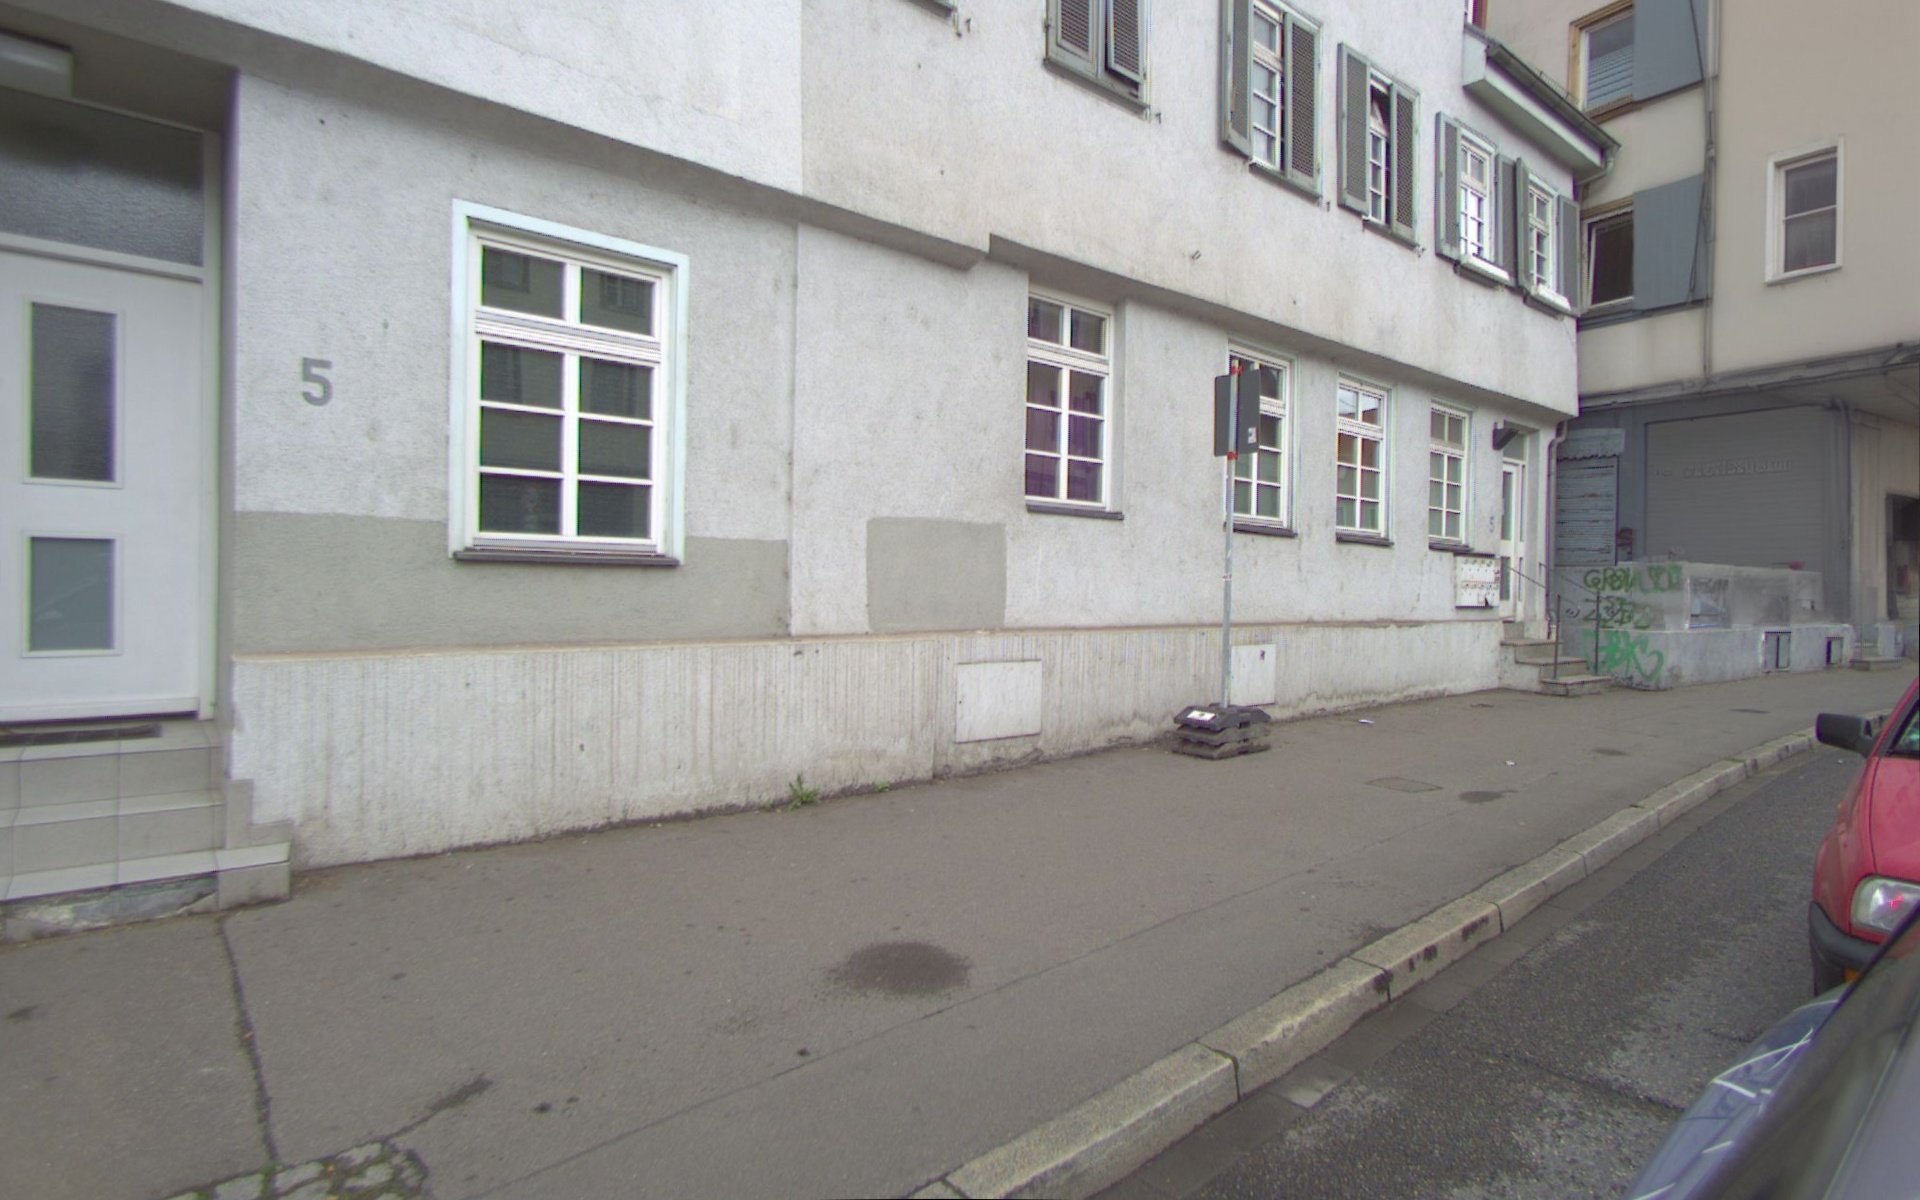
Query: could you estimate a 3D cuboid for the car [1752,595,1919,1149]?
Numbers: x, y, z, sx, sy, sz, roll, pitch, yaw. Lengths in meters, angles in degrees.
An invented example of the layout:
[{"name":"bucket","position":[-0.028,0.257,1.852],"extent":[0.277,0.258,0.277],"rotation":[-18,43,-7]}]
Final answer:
[{"name":"car","position":[4.361,0.717,3.589],"extent":[3.931,1.443,1.790],"rotation":[-1,0,-42]}]
